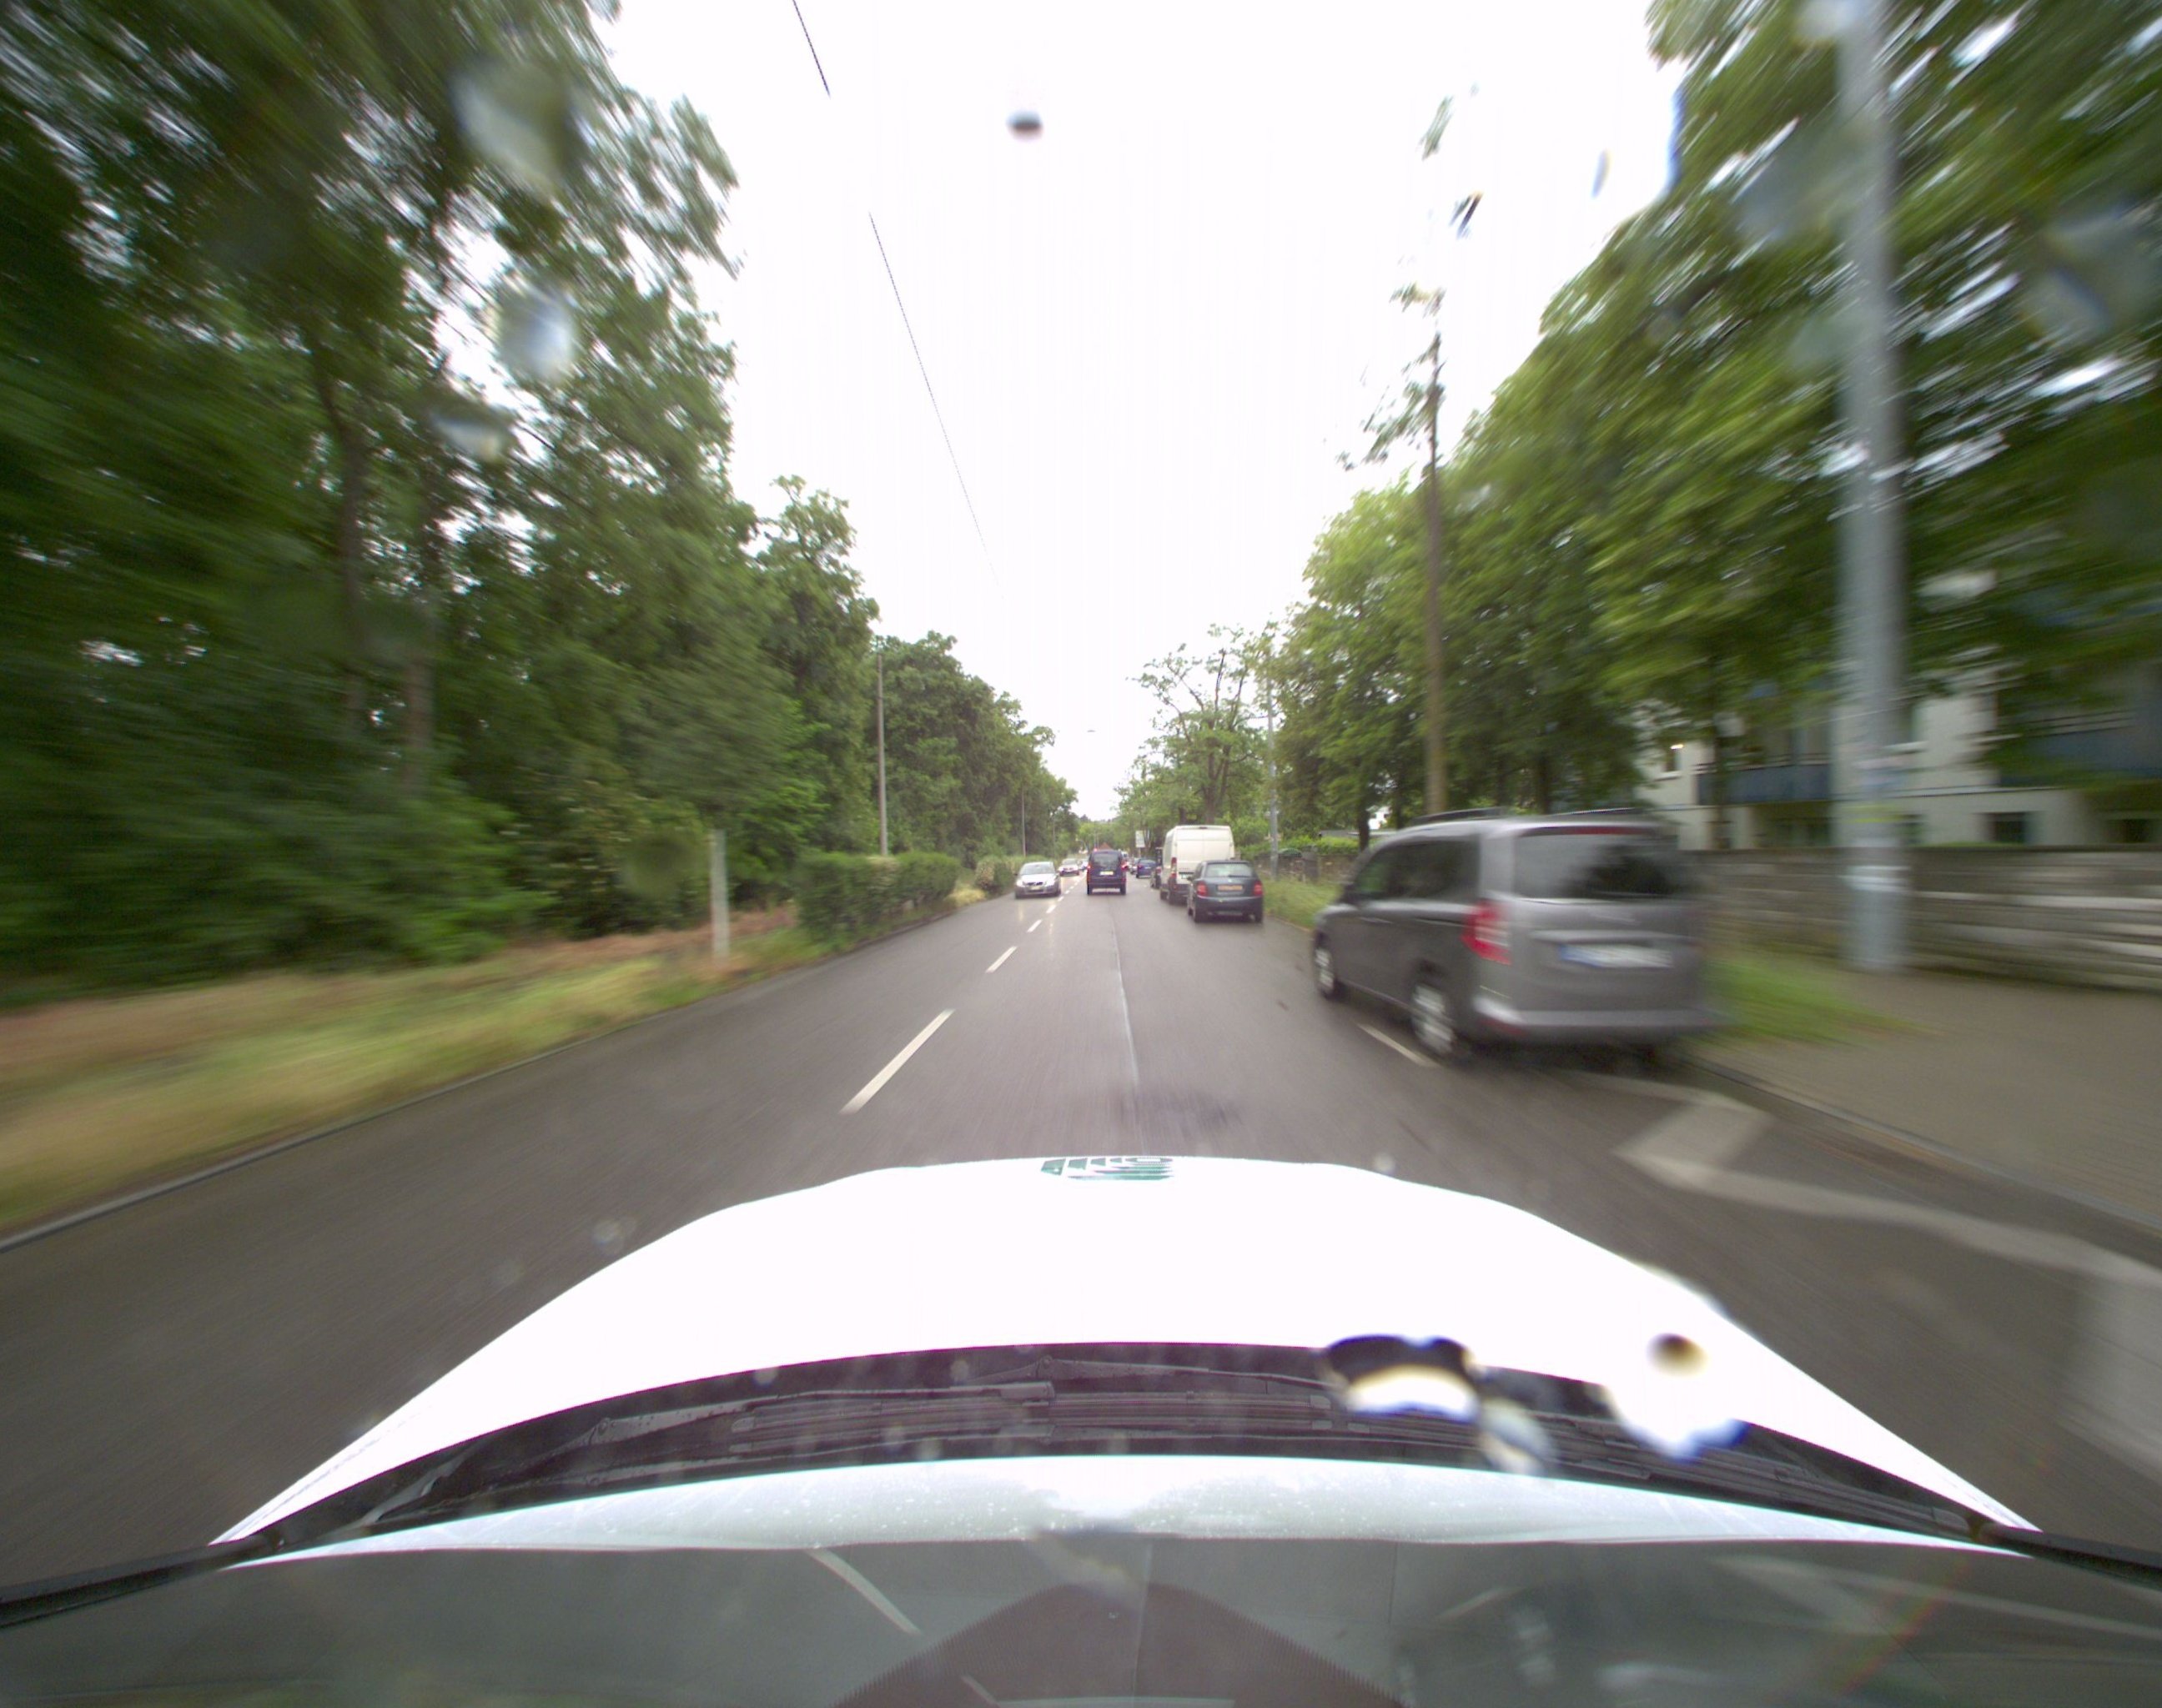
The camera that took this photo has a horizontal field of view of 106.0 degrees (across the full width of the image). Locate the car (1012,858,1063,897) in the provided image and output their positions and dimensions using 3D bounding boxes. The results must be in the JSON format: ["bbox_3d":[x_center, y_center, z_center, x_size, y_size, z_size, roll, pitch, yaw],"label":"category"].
[{"bbox_3d":[-1.743,0.955,33.925,1.777,1.479,3.968,-2,-1,1],"label":"car"}]

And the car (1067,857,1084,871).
[{"bbox_3d":[-0.633,1.169,97.990,1.849,1.468,4.449,-4,0,2],"label":"car"}]

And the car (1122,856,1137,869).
[{"bbox_3d":[5.783,0.967,96.574,1.690,1.524,3.872,0,1,4],"label":"car"}]

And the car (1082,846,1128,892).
[{"bbox_3d":[0.974,0.599,34.352,1.762,1.830,3.540,0,0,-1],"label":"car"}]

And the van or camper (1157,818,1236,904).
[{"bbox_3d":[3.840,0.195,27.965,2.071,2.650,5.348,0,0,1],"label":"van or camper"}]

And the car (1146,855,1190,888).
[{"bbox_3d":[4.274,0.837,40.506,1.735,1.479,3.962,0,1,-1],"label":"car"}]

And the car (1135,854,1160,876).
[{"bbox_3d":[4.955,0.805,60.847,1.714,1.505,4.052,0,1,2],"label":"car"}]

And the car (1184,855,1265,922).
[{"bbox_3d":[3.465,0.768,20.193,1.618,1.464,3.813,0,1,5],"label":"car"}]

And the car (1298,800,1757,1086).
[{"bbox_3d":[3.424,0.545,7.336,1.809,1.813,4.282,0,1,0],"label":"car"}]

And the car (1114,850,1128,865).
[{"bbox_3d":[6.697,0.536,137.909,2.197,2.449,4.731,-2,0,2],"label":"car"}]

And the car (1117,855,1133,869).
[{"bbox_3d":[4.901,0.885,90.319,1.627,1.510,2.957,0,0,0],"label":"car"}]

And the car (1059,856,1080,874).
[{"bbox_3d":[-0.995,1.015,74.817,1.723,1.492,4.001,-3,0,1],"label":"car"}]

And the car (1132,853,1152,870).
[{"bbox_3d":[5.541,0.668,74.343,1.613,1.508,3.834,0,1,0],"label":"car"}]

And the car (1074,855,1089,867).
[{"bbox_3d":[0.123,0.964,114.379,1.849,1.468,4.449,-4,0,2],"label":"car"}]
